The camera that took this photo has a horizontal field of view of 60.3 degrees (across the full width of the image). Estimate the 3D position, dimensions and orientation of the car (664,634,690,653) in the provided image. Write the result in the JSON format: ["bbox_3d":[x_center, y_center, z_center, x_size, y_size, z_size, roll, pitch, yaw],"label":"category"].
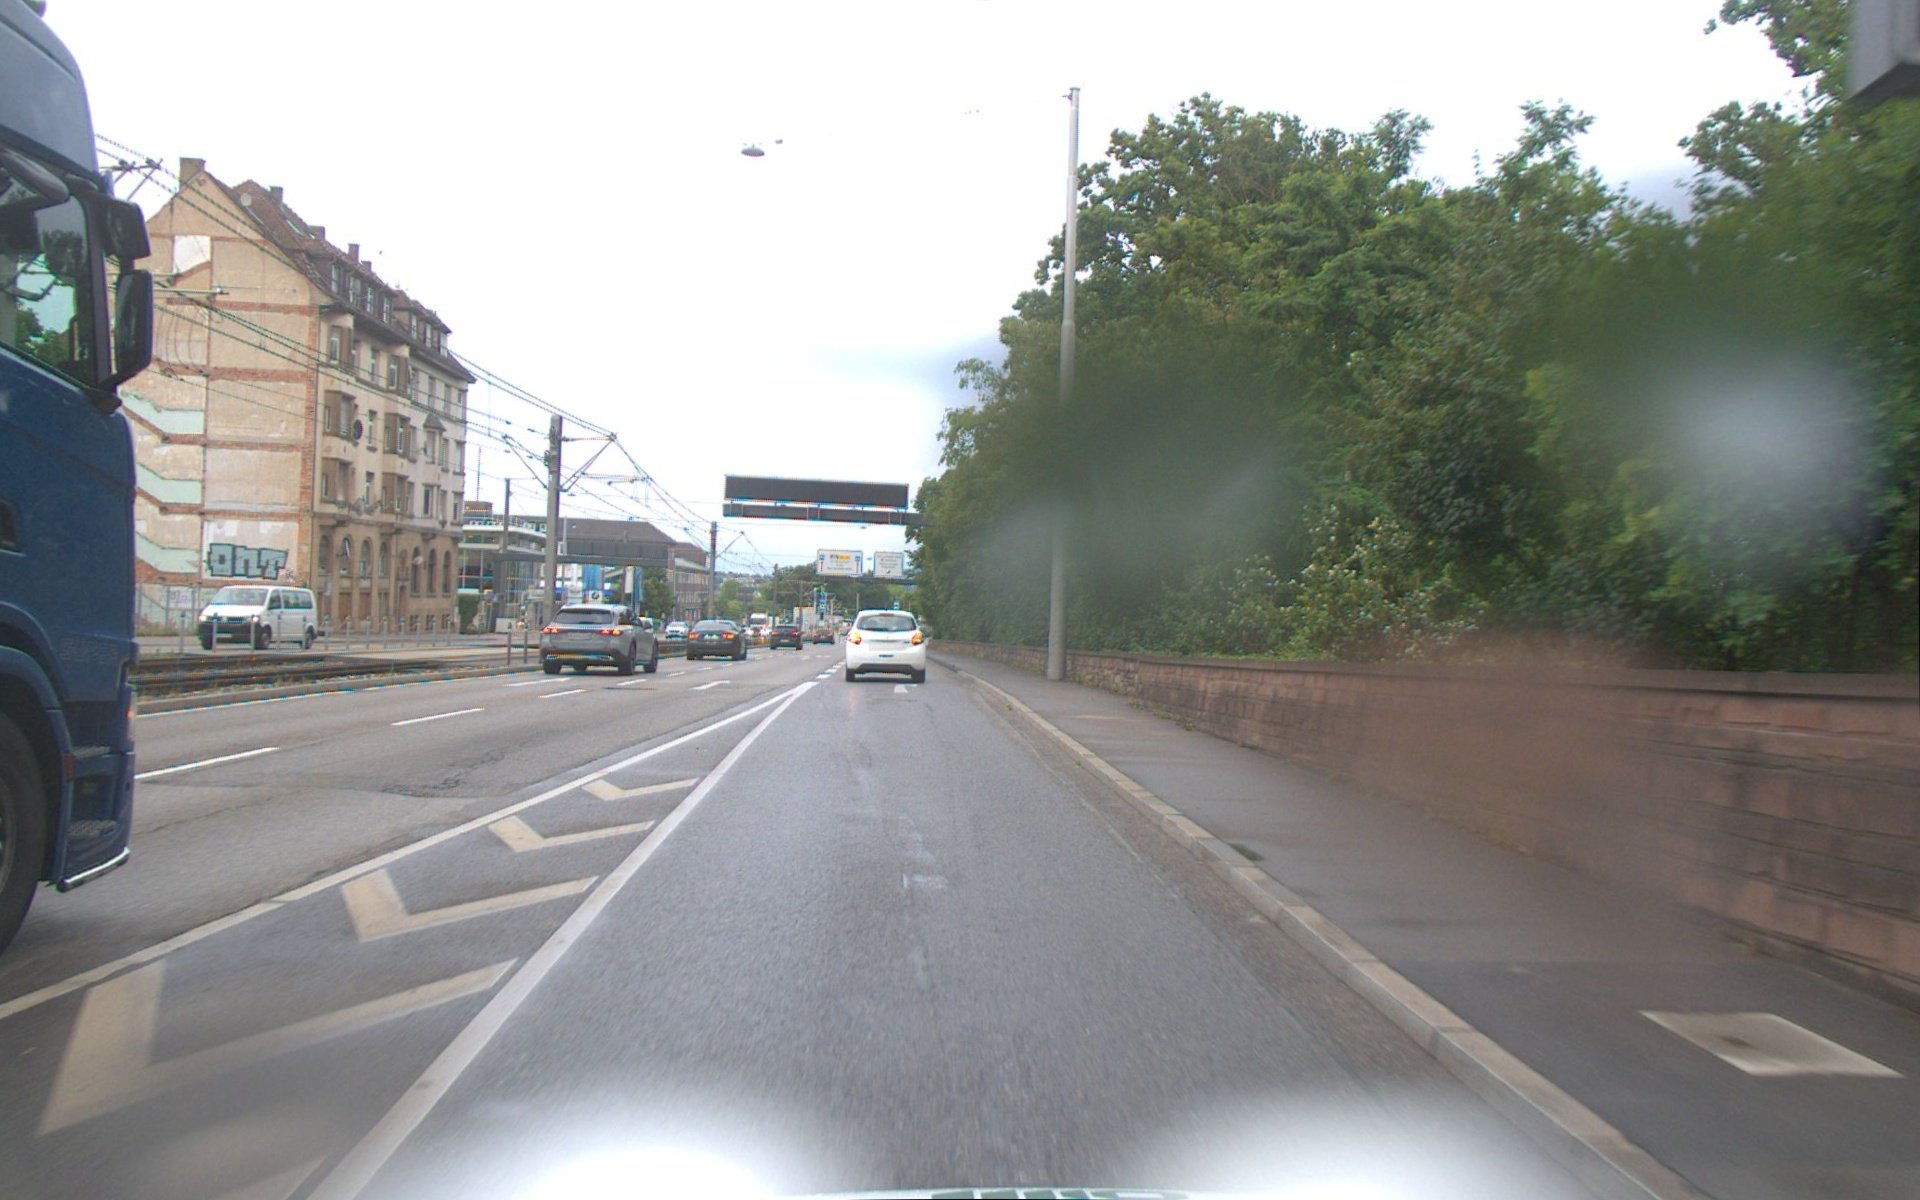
[{"bbox_3d":[-27.450,4.269,160.527,1.954,1.691,3.997,3,-3,-3],"label":"car"}]

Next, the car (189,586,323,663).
[{"bbox_3d":[-21.709,0.814,51.231,1.953,2.155,5.107,3,-2,-1],"label":"car"}]

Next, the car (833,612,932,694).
[{"bbox_3d":[-1.697,1.080,35.275,1.917,1.514,3.997,3,0,-4],"label":"car"}]

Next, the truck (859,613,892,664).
[{"bbox_3d":[-10.464,4.902,205.698,3.394,5.496,12.046,3,-5,0],"label":"truck"}]

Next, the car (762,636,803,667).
[{"bbox_3d":[-10.199,2.975,95.218,1.953,1.603,3.998,3,-2,-1],"label":"car"}]

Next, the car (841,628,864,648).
[{"bbox_3d":[-10.482,3.713,161.813,2.039,1.905,4.093,1,-2,-2],"label":"car"}]

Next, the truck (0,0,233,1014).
[{"bbox_3d":[-4.912,-0.678,4.301,2.704,4.271,6.786,1,-1,3],"label":"truck"}]

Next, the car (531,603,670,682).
[{"bbox_3d":[-7.695,0.941,35.788,1.782,1.593,4.094,0,-2,5],"label":"car"}]

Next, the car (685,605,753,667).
[{"bbox_3d":[-8.270,1.208,56.995,1.686,1.924,3.537,2,2,2],"label":"car"}]

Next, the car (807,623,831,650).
[{"bbox_3d":[-12.653,3.277,148.619,1.954,2.049,3.996,3,-5,-3],"label":"car"}]
